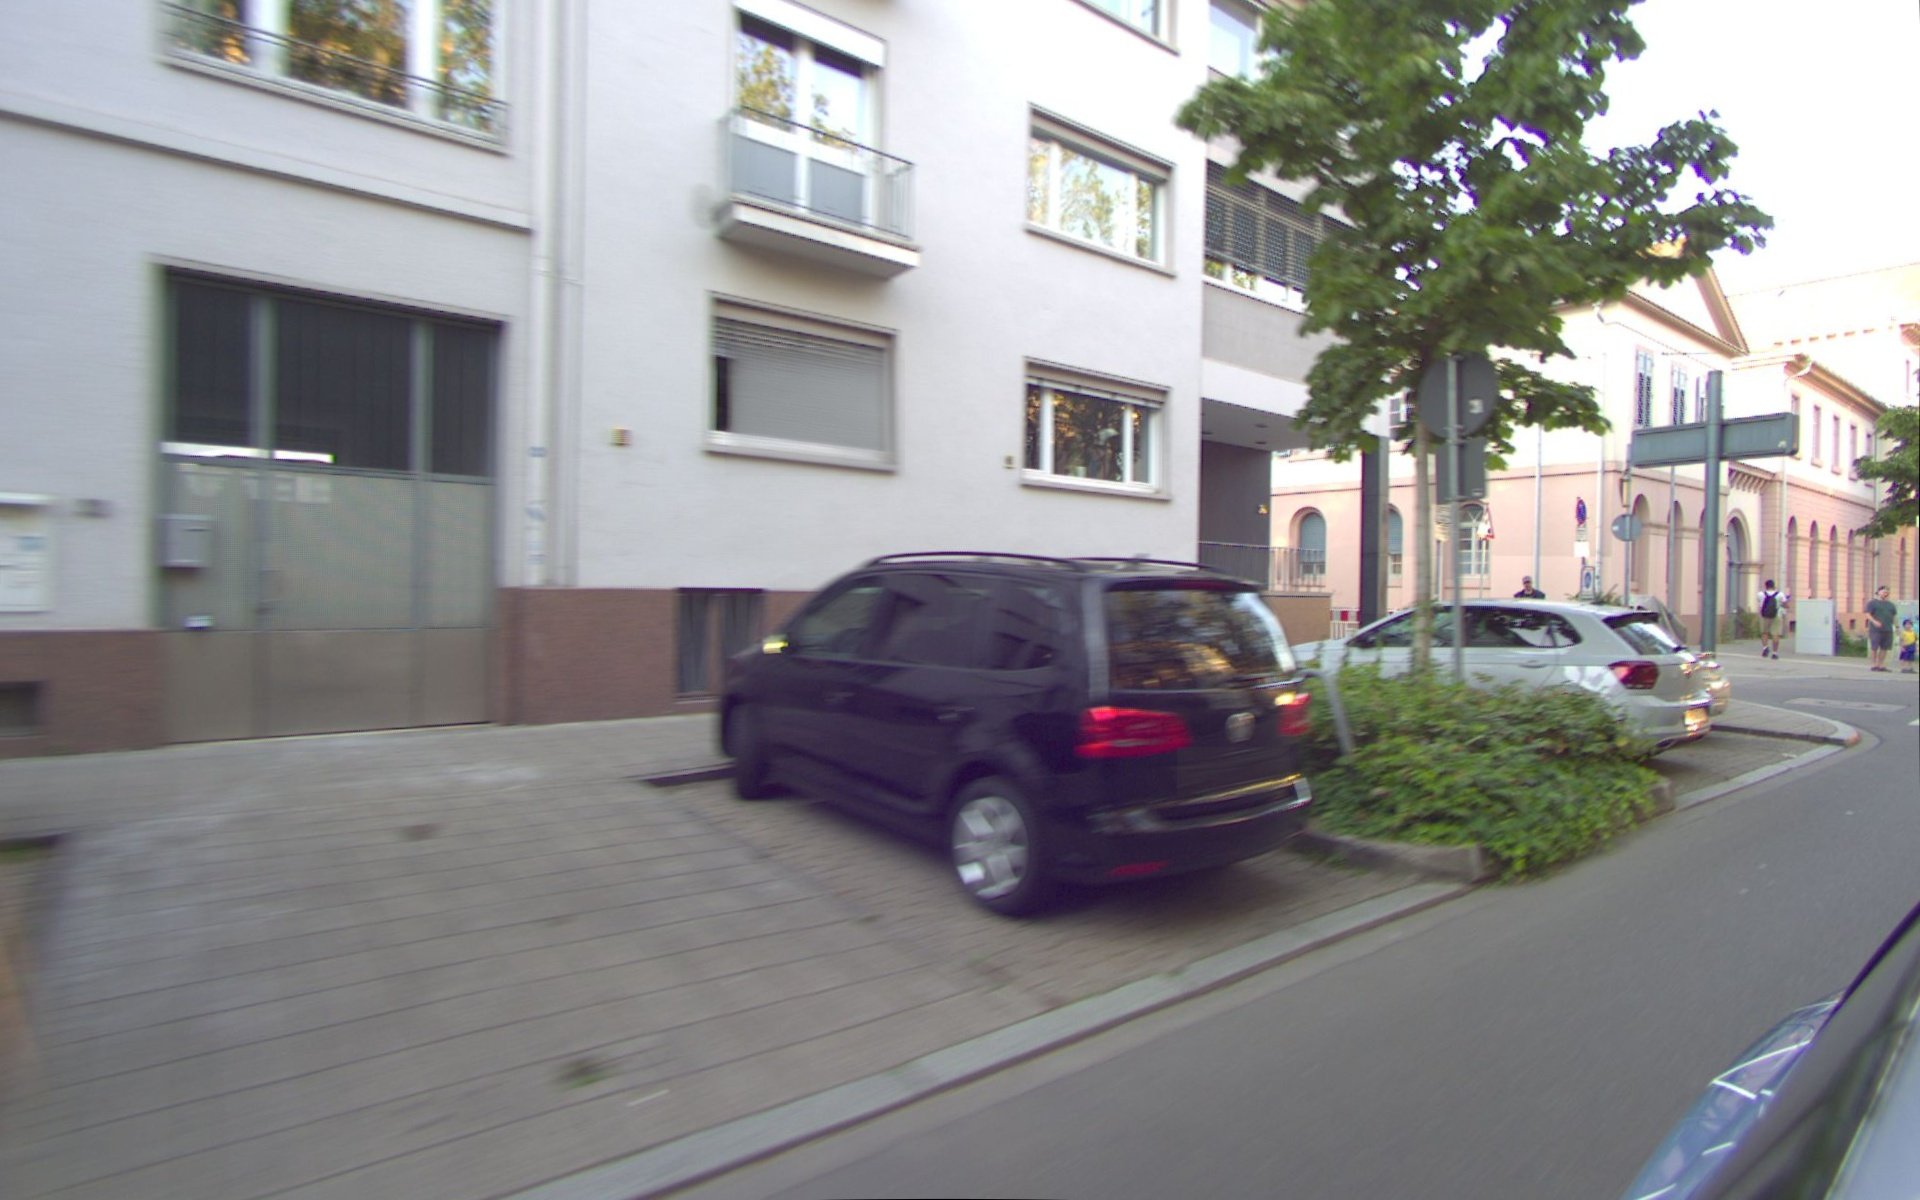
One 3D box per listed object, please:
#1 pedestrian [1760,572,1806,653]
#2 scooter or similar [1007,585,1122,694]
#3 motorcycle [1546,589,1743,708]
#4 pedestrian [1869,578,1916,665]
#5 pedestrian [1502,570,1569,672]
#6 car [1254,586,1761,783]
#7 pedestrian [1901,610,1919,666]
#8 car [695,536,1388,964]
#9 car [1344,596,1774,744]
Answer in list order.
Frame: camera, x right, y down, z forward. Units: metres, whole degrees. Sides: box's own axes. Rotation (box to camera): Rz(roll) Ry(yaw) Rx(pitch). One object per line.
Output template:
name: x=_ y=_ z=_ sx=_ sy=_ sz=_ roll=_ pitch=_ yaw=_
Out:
pedestrian: x=19.689 y=0.281 z=24.210 sx=1.032 sy=1.878 sz=0.698 roll=1 pitch=2 yaw=-45
scooter or similar: x=1.265 y=0.459 z=12.168 sx=1.391 sy=1.254 sz=0.347 roll=1 pitch=0 yaw=-28
motorcycle: x=9.028 y=0.586 z=13.443 sx=0.979 sy=1.409 sz=1.918 roll=0 pitch=2 yaw=-24
pedestrian: x=19.926 y=0.453 z=21.626 sx=0.565 sy=1.796 sz=0.545 roll=1 pitch=2 yaw=-36
pedestrian: x=10.627 y=0.373 z=18.693 sx=1.046 sy=1.817 sz=0.699 roll=1 pitch=1 yaw=-37
car: x=5.094 y=0.628 z=9.912 sx=1.761 sy=1.455 sz=3.999 roll=0 pitch=1 yaw=-37
pedestrian: x=20.531 y=0.819 z=21.494 sx=0.535 sy=1.159 sz=0.493 roll=2 pitch=2 yaw=-1
car: x=0.124 y=0.524 z=6.107 sx=1.924 sy=1.637 sz=4.122 roll=0 pitch=1 yaw=-37
car: x=6.820 y=0.674 z=11.939 sx=1.760 sy=1.349 sz=4.001 roll=0 pitch=1 yaw=-34
